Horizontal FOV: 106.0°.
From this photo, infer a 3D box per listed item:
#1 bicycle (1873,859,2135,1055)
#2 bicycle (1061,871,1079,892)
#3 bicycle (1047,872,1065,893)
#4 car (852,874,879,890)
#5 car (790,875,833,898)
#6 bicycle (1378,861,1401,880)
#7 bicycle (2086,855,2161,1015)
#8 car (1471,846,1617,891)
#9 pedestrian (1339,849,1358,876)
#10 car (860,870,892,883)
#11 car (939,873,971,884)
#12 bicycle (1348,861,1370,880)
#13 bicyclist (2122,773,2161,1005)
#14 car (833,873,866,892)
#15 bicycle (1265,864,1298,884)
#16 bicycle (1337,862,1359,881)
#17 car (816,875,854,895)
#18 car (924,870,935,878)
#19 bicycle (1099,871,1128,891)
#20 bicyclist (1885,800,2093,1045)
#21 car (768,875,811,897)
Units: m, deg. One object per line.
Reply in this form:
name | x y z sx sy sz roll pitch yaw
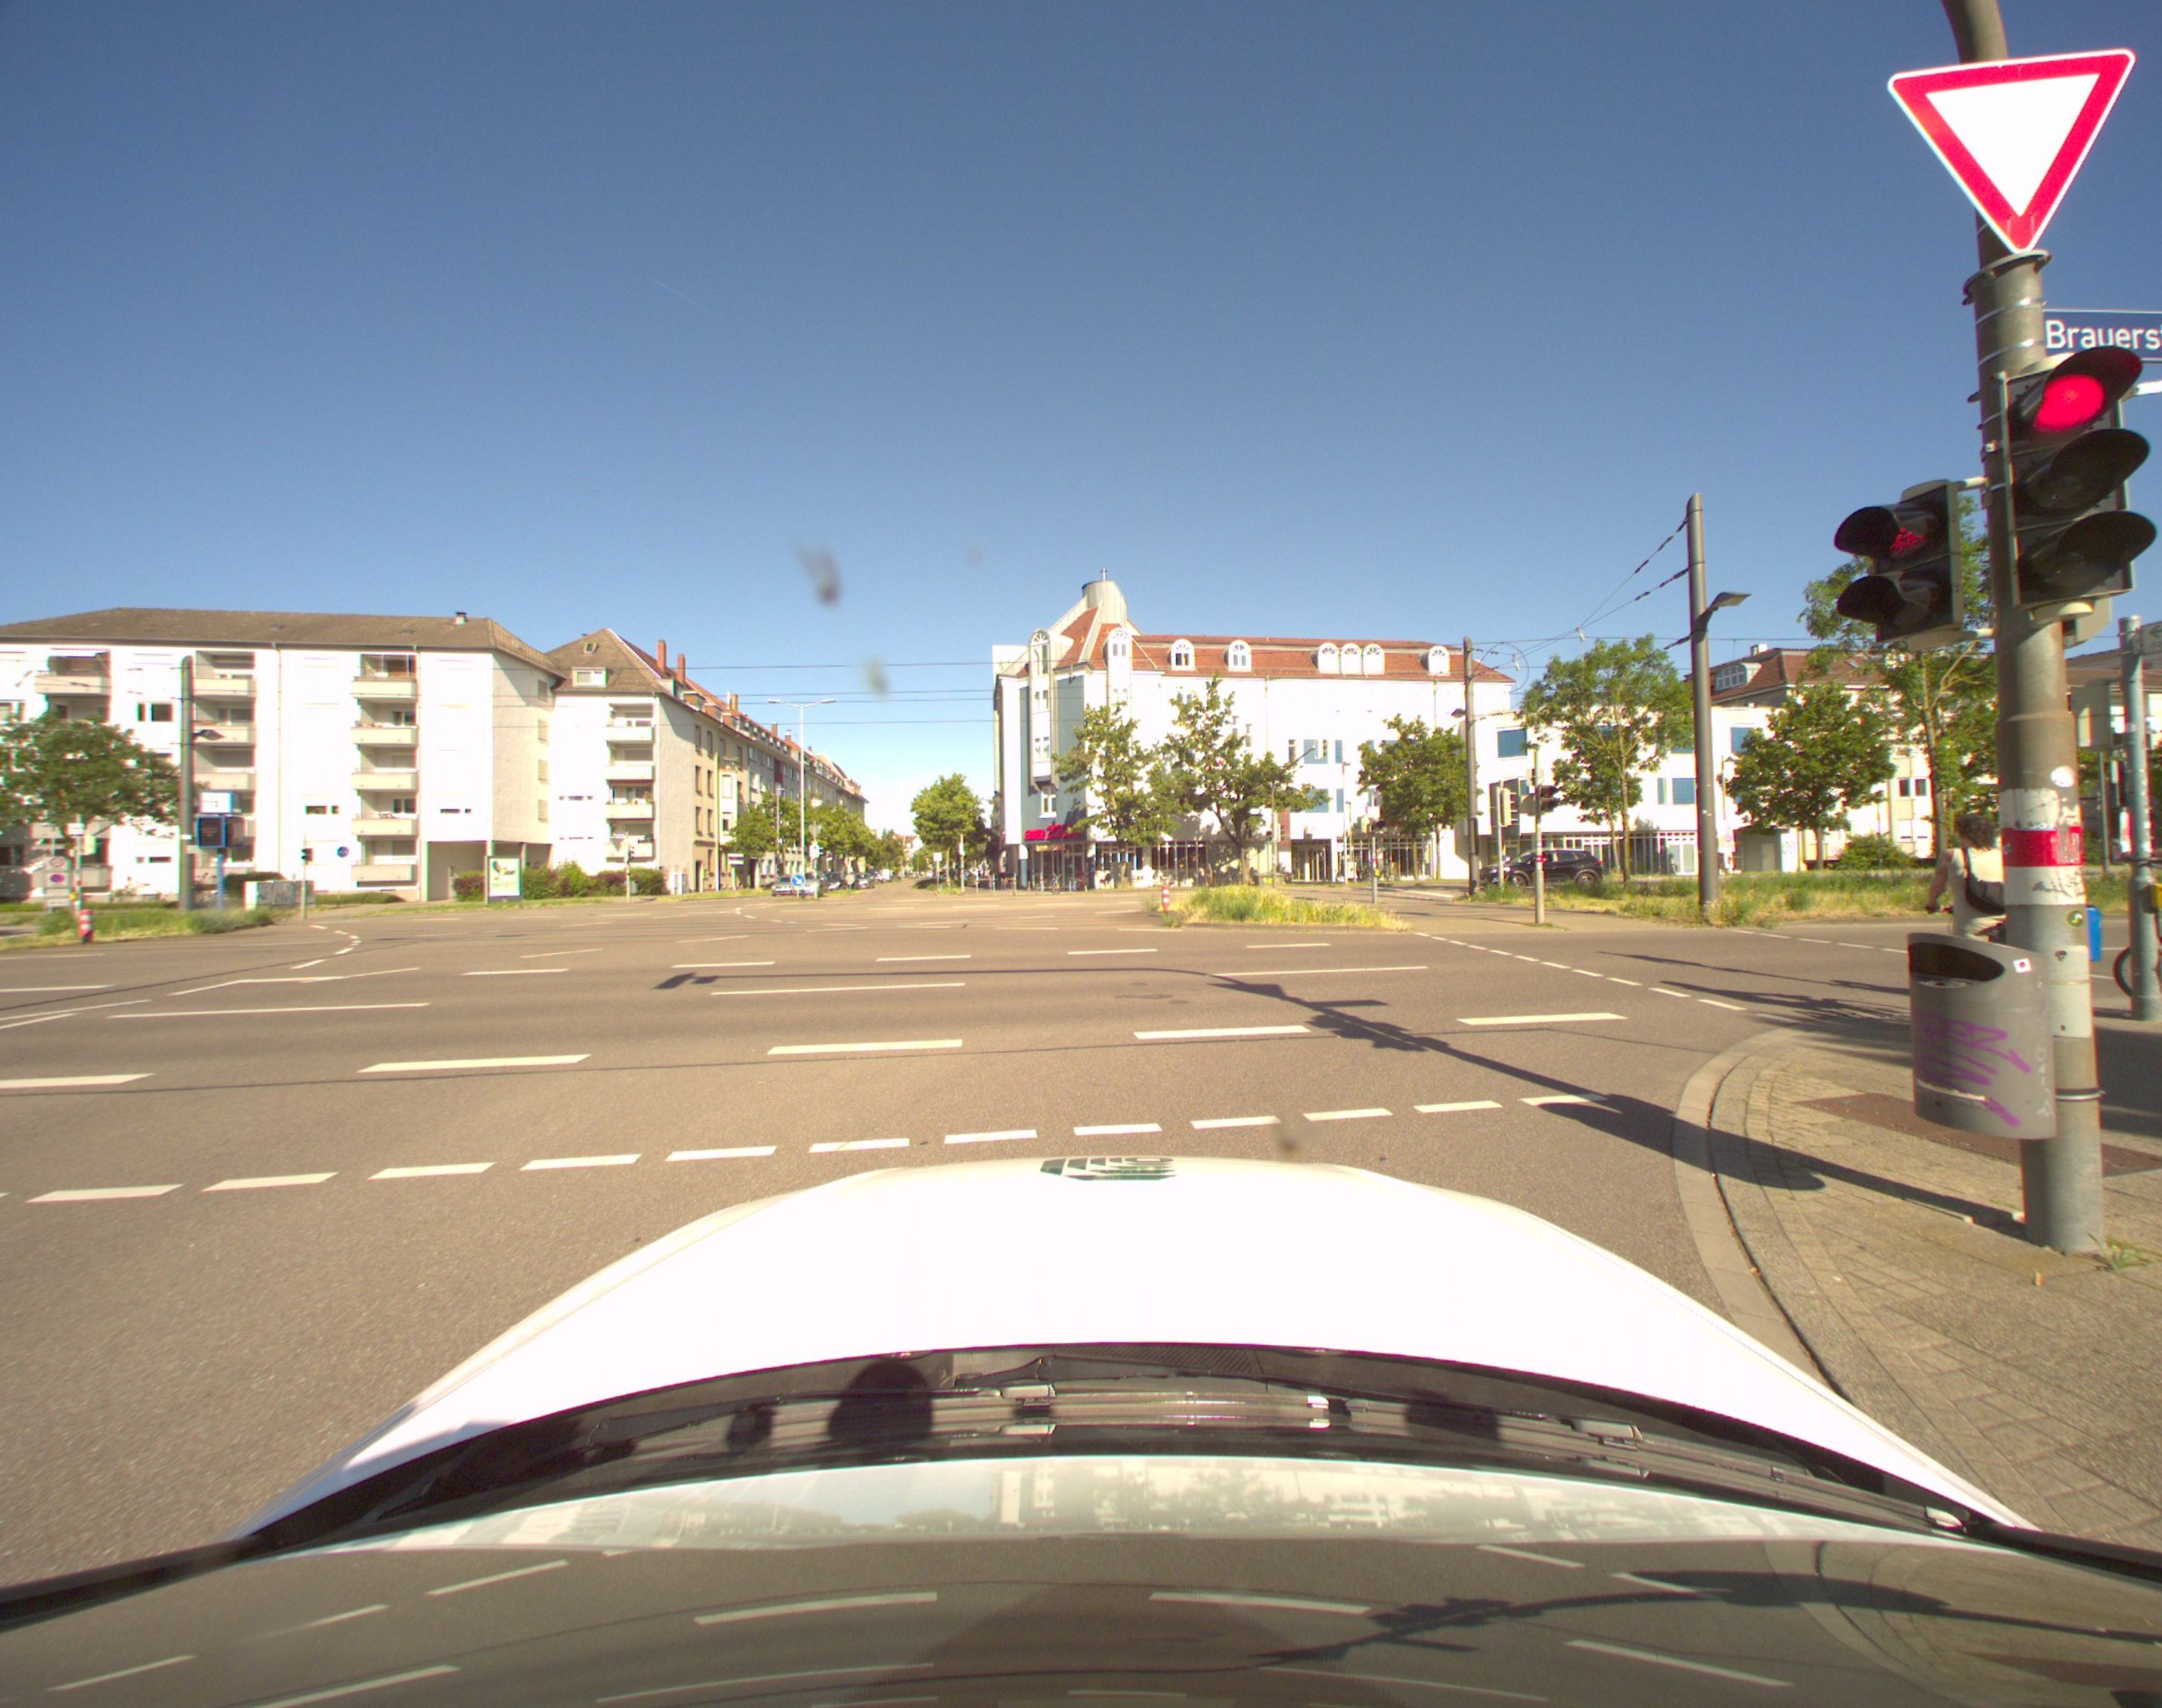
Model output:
bicycle | 7.443 0.727 6.728 0.782 1.348 2.092 -2 -1 31
bicycle | -0.575 1.425 42.270 0.473 1.027 1.506 -1 -1 -19
bicycle | -1.281 1.439 41.655 0.473 1.027 1.507 -1 -1 -18
car | -19.985 2.559 75.637 1.686 1.432 4.390 1 -2 -6
car | -17.872 2.149 54.264 1.685 1.432 4.391 1 -2 -5
bicycle | 19.677 1.053 51.927 0.559 1.182 1.866 -1 -1 -5
bicycle | 9.446 0.680 6.648 0.782 1.348 2.277 -2 -1 31
car | 17.841 0.562 31.578 4.483 1.609 2.001 -1 -1 2
pedestrian | 17.598 0.539 53.542 0.989 1.723 0.652 -1 -1 -9
car | -30.794 3.383 122.411 4.505 2.014 1.993 0 -2 -10
car | -14.502 2.837 93.518 3.567 1.223 1.725 0 -2 -10
bicycle | 17.772 1.077 52.100 0.560 1.182 1.864 -1 -1 -8
bicyclist | 9.411 0.287 6.618 0.782 1.959 1.017 -2 -2 31
car | -19.022 2.313 67.010 1.685 1.432 4.392 1 -2 -4
bicycle | 12.278 1.206 49.895 1.864 1.182 0.560 -1 -1 -12
bicycle | 16.916 1.091 51.677 0.560 1.182 1.864 -1 -1 -8
car | -18.382 2.276 61.045 1.684 1.432 4.394 1 -2 -3
car | -33.100 4.378 177.824 1.992 1.756 4.508 0 -2 -7
bicycle | 1.774 1.471 44.321 1.505 1.027 0.473 -2 -1 3
bicyclist | 7.468 0.523 6.781 0.782 1.824 1.142 -2 -2 31
car | -20.379 2.196 57.143 1.685 1.432 4.392 1 -2 -4
